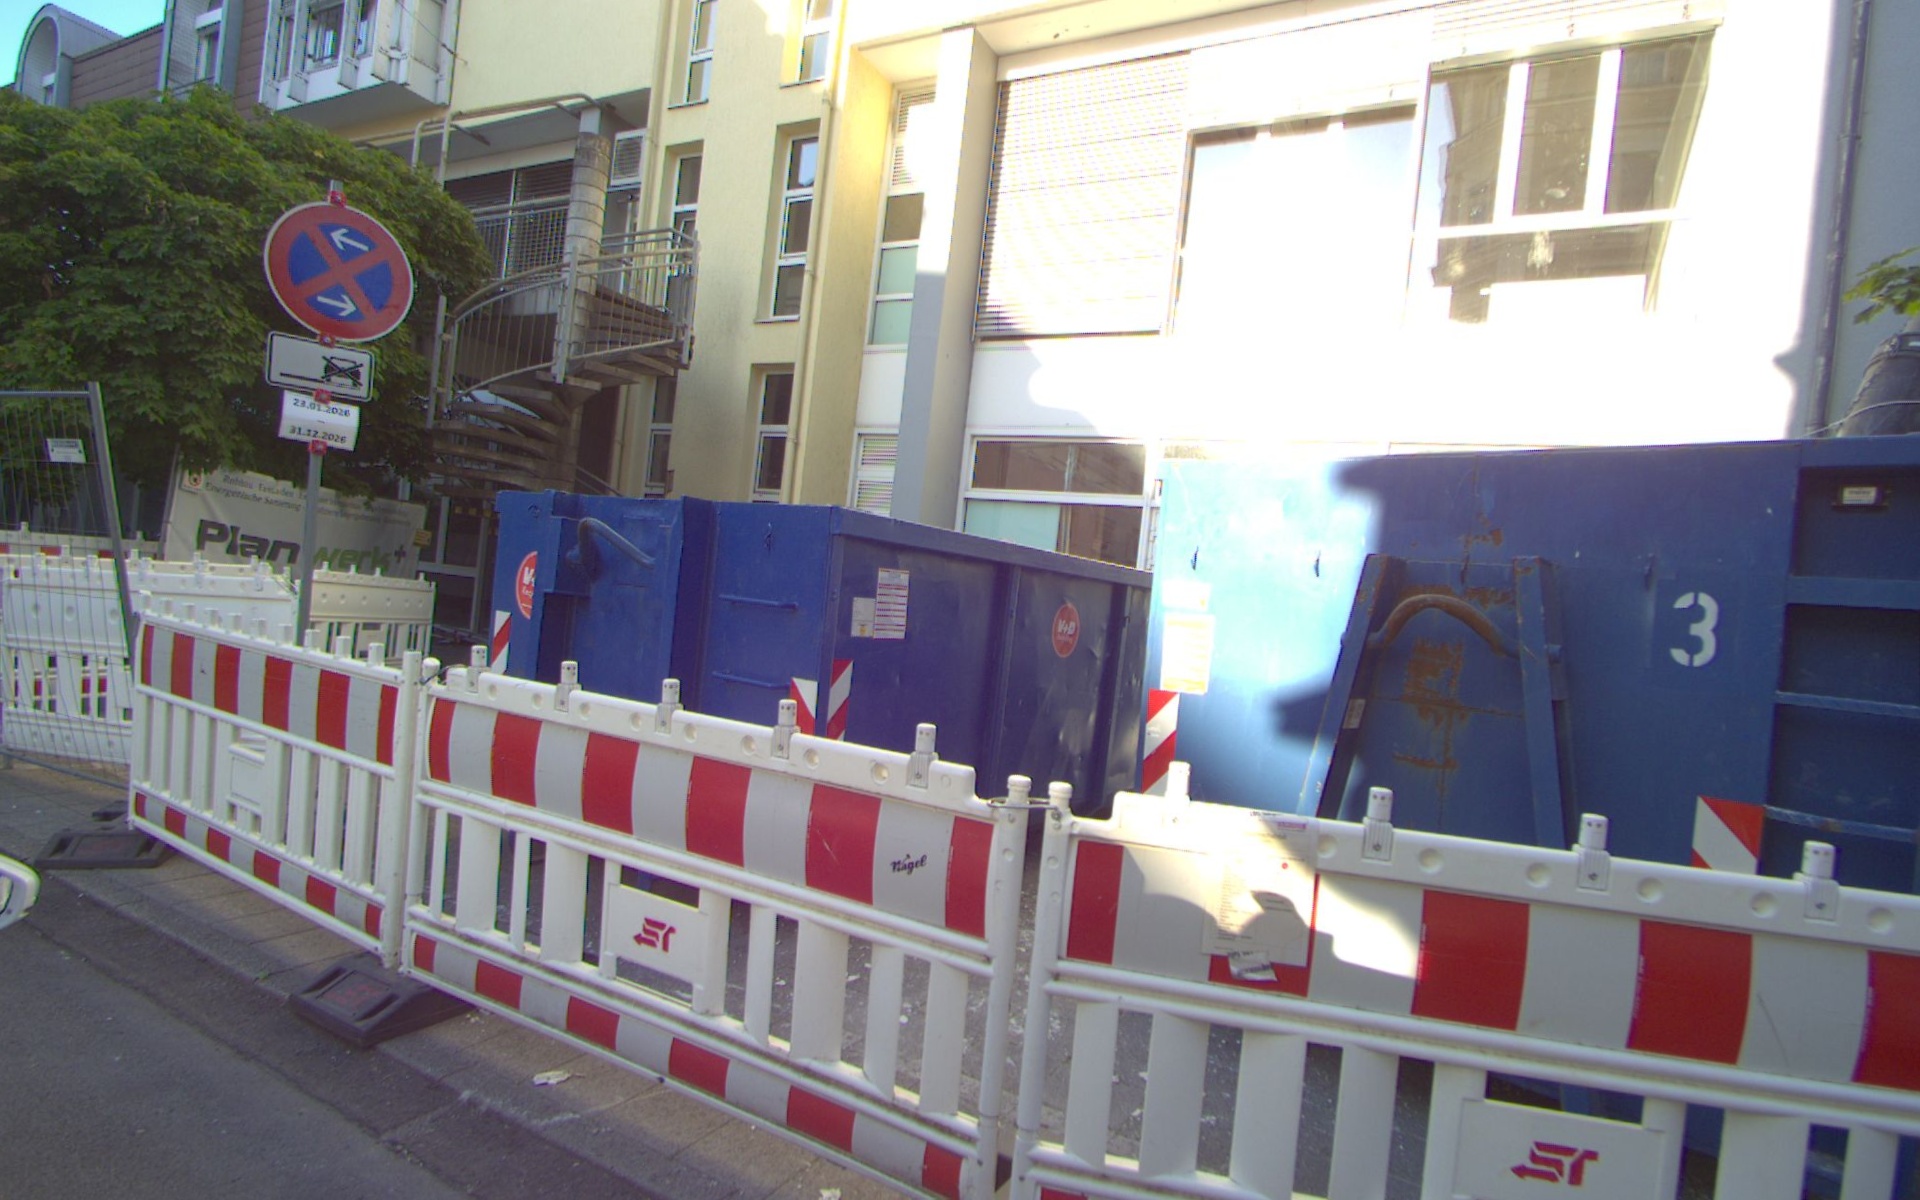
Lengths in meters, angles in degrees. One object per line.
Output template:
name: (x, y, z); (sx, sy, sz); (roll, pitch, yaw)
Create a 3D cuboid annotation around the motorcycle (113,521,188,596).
motorcycle: (-15.077, -0.794, 18.713); (0.866, 1.237, 2.428); (6, -1, -43)

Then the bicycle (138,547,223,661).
bicycle: (-8.262, 0.019, 10.673); (0.565, 1.082, 1.352); (8, -2, -38)

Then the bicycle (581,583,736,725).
bicycle: (-3.038, 0.572, 10.326); (0.539, 1.282, 1.652); (6, -2, 18)
